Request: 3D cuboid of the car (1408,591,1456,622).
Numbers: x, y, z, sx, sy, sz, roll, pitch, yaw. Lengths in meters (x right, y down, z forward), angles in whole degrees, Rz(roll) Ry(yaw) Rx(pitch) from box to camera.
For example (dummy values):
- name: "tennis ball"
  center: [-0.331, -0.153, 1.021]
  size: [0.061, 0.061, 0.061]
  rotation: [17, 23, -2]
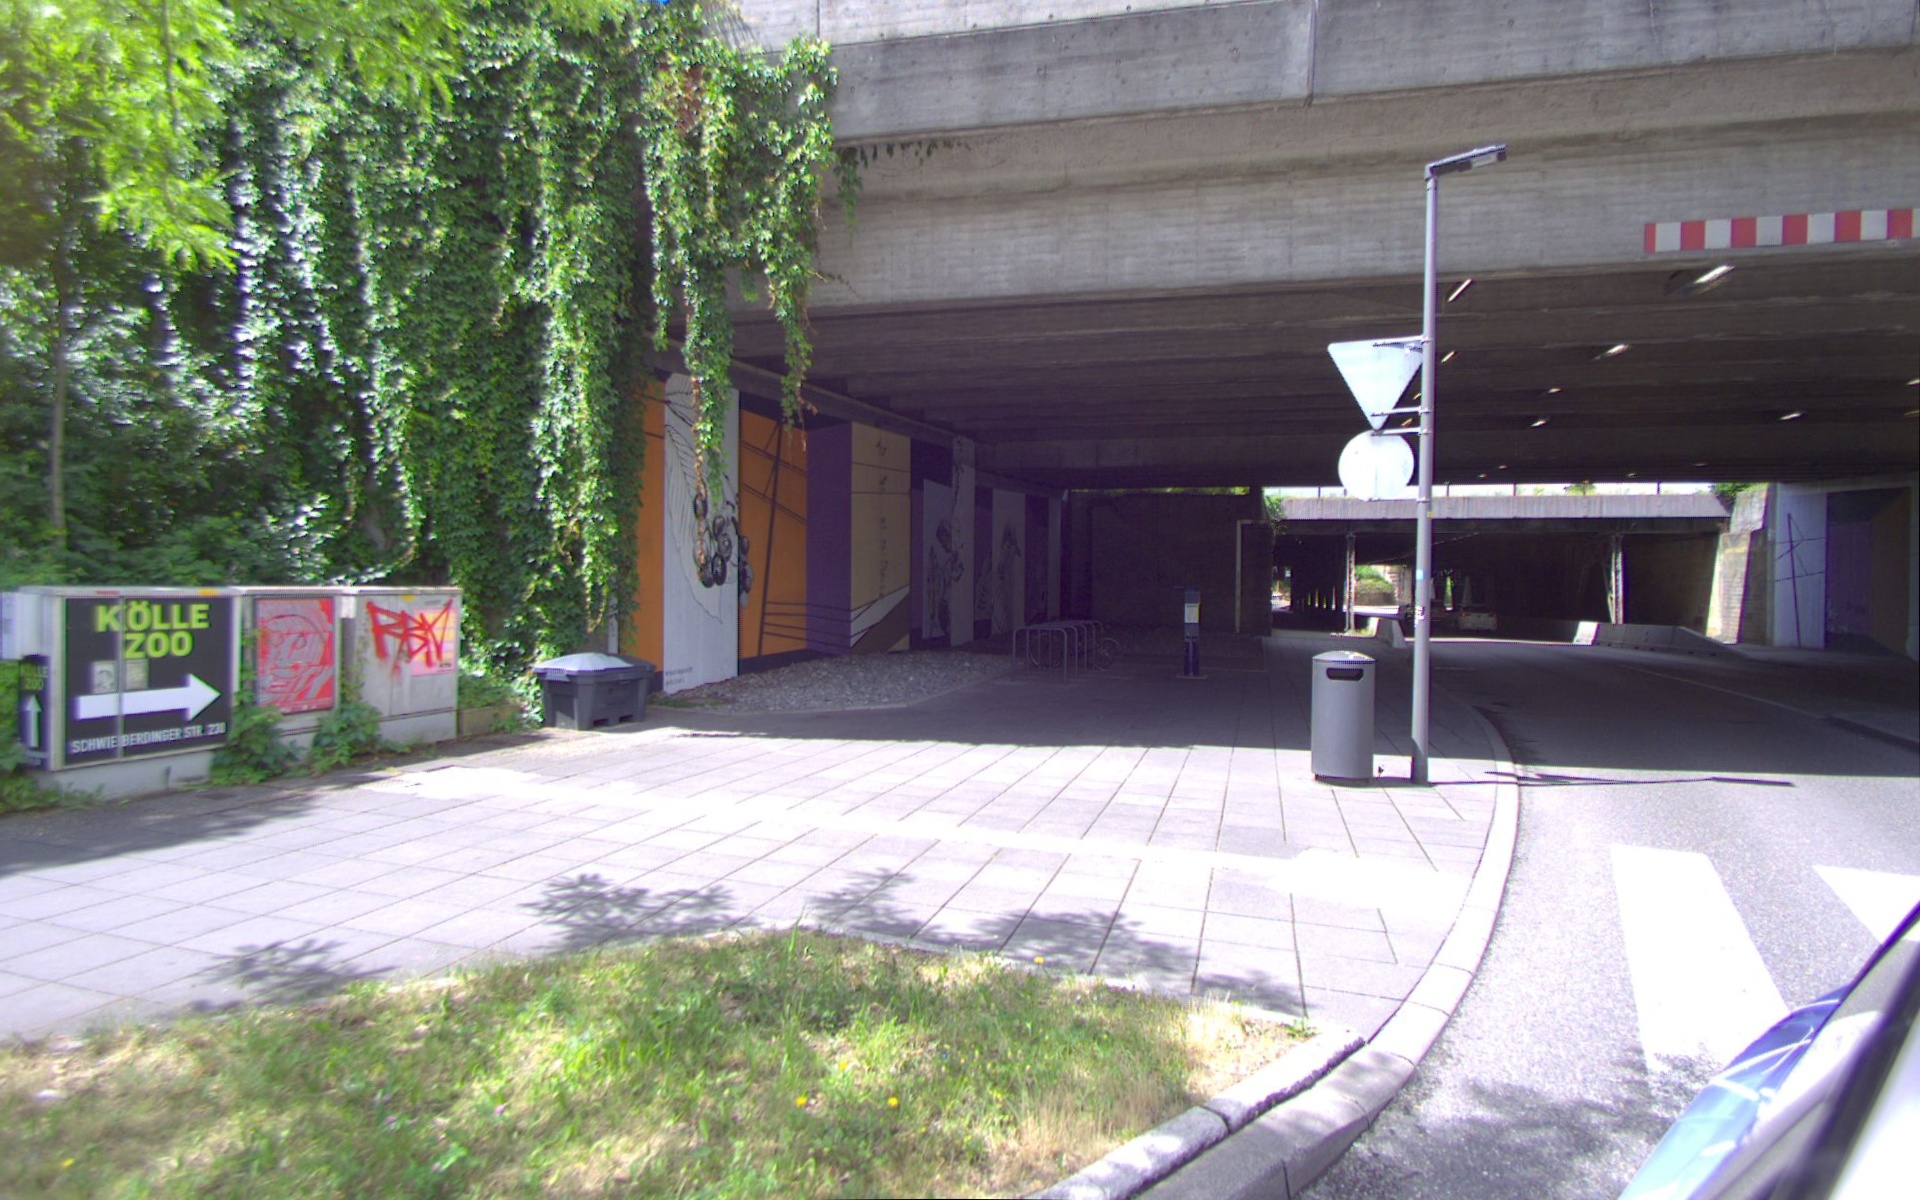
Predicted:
- name: "car"
  center: [27.189, 0.334, 58.429]
  size: [1.806, 1.674, 4.193]
  rotation: [2, 1, 16]

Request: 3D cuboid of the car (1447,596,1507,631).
- name: "car"
  center: [24.252, 0.598, 47.617]
  size: [1.652, 1.465, 3.836]
  rotation: [2, 1, 14]

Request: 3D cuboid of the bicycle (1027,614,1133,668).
- name: "bicycle"
  center: [2.263, 0.759, 19.150]
  size: [1.924, 0.915, 0.504]
  rotation: [2, 1, 17]
